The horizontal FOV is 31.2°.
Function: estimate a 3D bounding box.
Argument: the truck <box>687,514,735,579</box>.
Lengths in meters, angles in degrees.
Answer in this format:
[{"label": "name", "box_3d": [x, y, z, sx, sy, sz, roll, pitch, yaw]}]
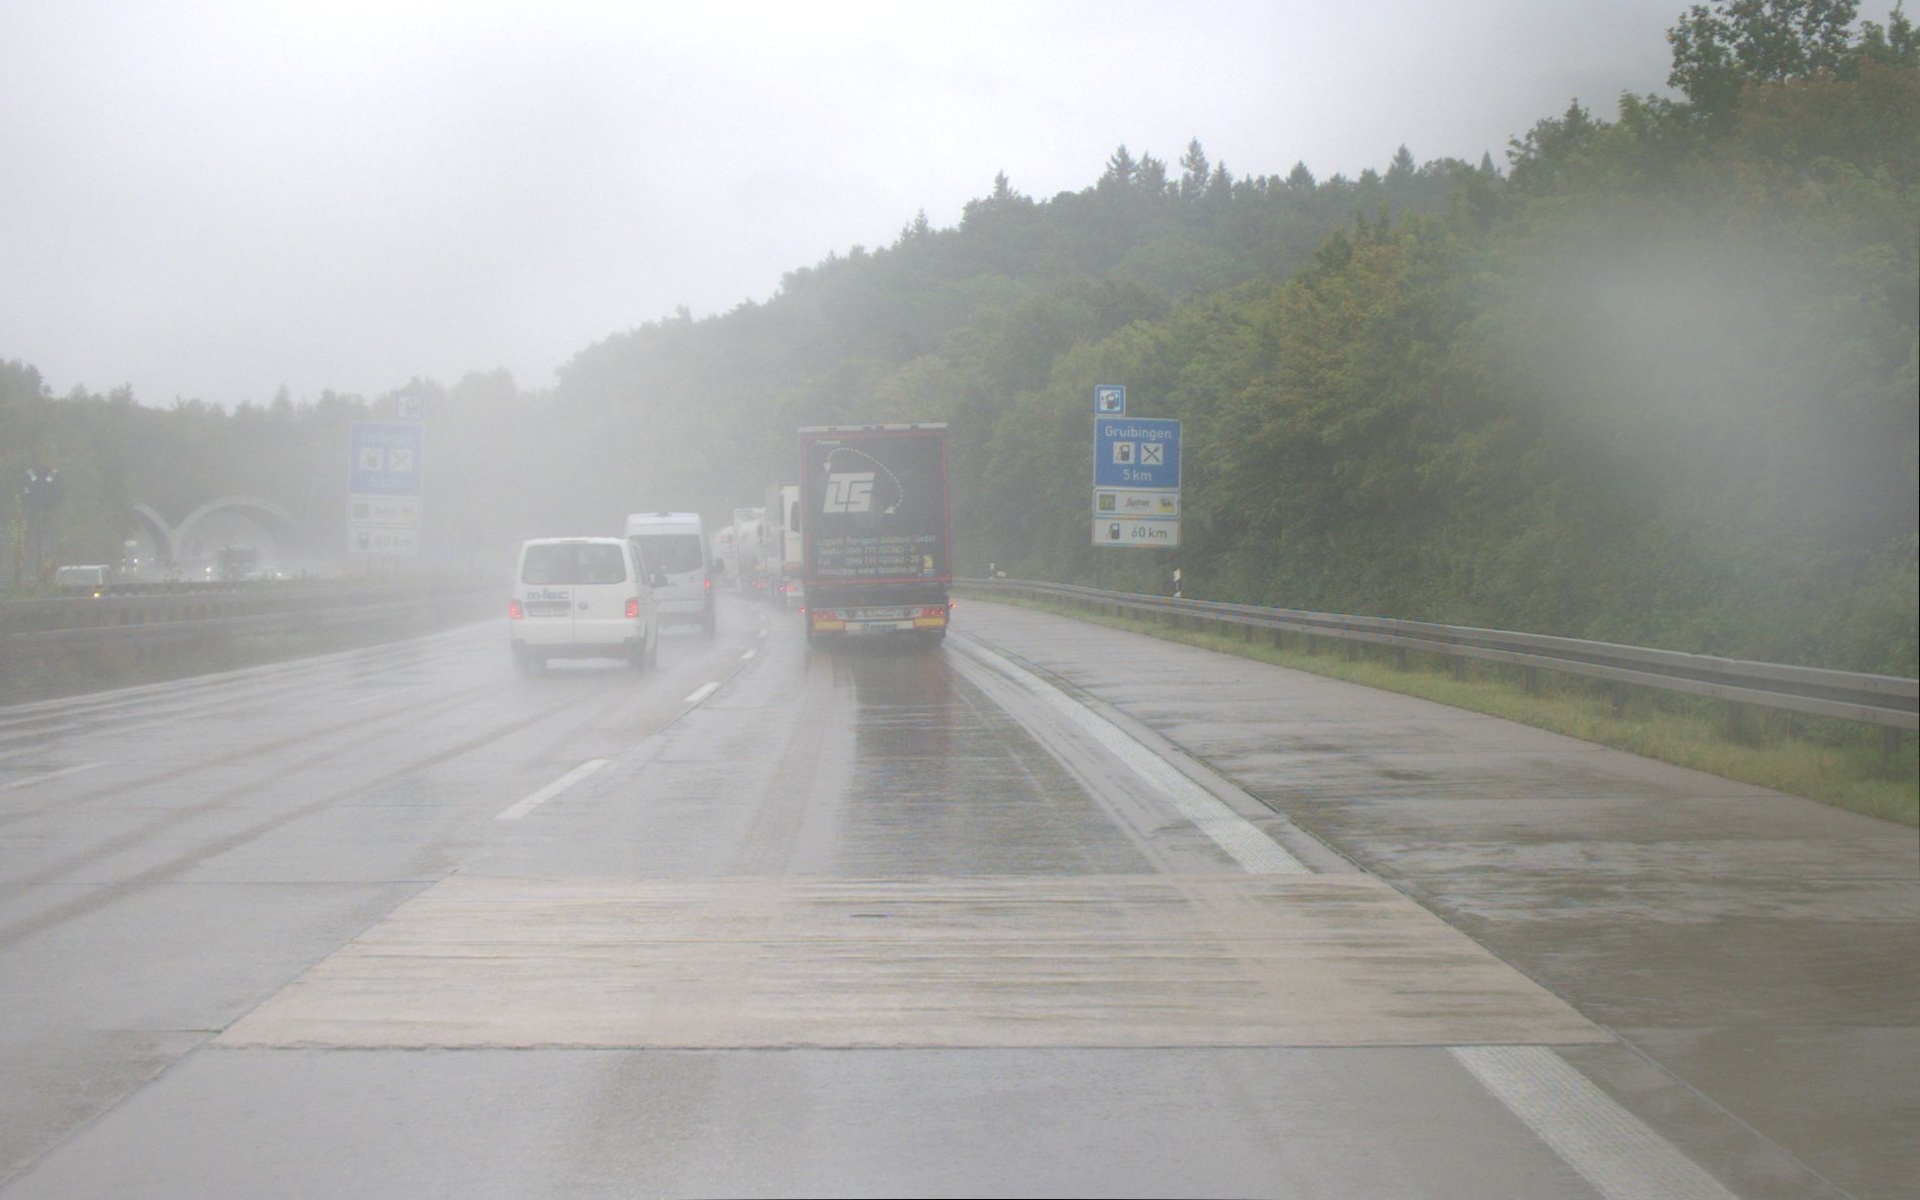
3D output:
[{"label": "truck", "box_3d": [-12.489, -2.692, 172.105, 1.993, 3.159, 6.735, 1, 1, -8]}]

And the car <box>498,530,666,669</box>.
[{"label": "car", "box_3d": [-5.401, -0.030, 49.694, 1.899, 1.888, 5.043, 1, 0, -1]}]

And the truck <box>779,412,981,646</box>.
[{"label": "truck", "box_3d": [-1.473, -1.408, 63.521, 3.385, 3.954, 8.668, -1, 3, -1]}]

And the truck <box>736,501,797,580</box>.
[{"label": "truck", "box_3d": [-8.072, -2.469, 142.718, 1.993, 3.159, 6.735, 1, 1, -8]}]

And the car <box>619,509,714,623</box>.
[{"label": "car", "box_3d": [-6.326, -0.749, 73.748, 1.899, 2.326, 5.252, 1, 1, -6]}]

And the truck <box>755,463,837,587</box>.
[{"label": "truck", "box_3d": [-5.242, -2.350, 109.184, 1.993, 3.793, 6.735, 1, 1, -8]}]
